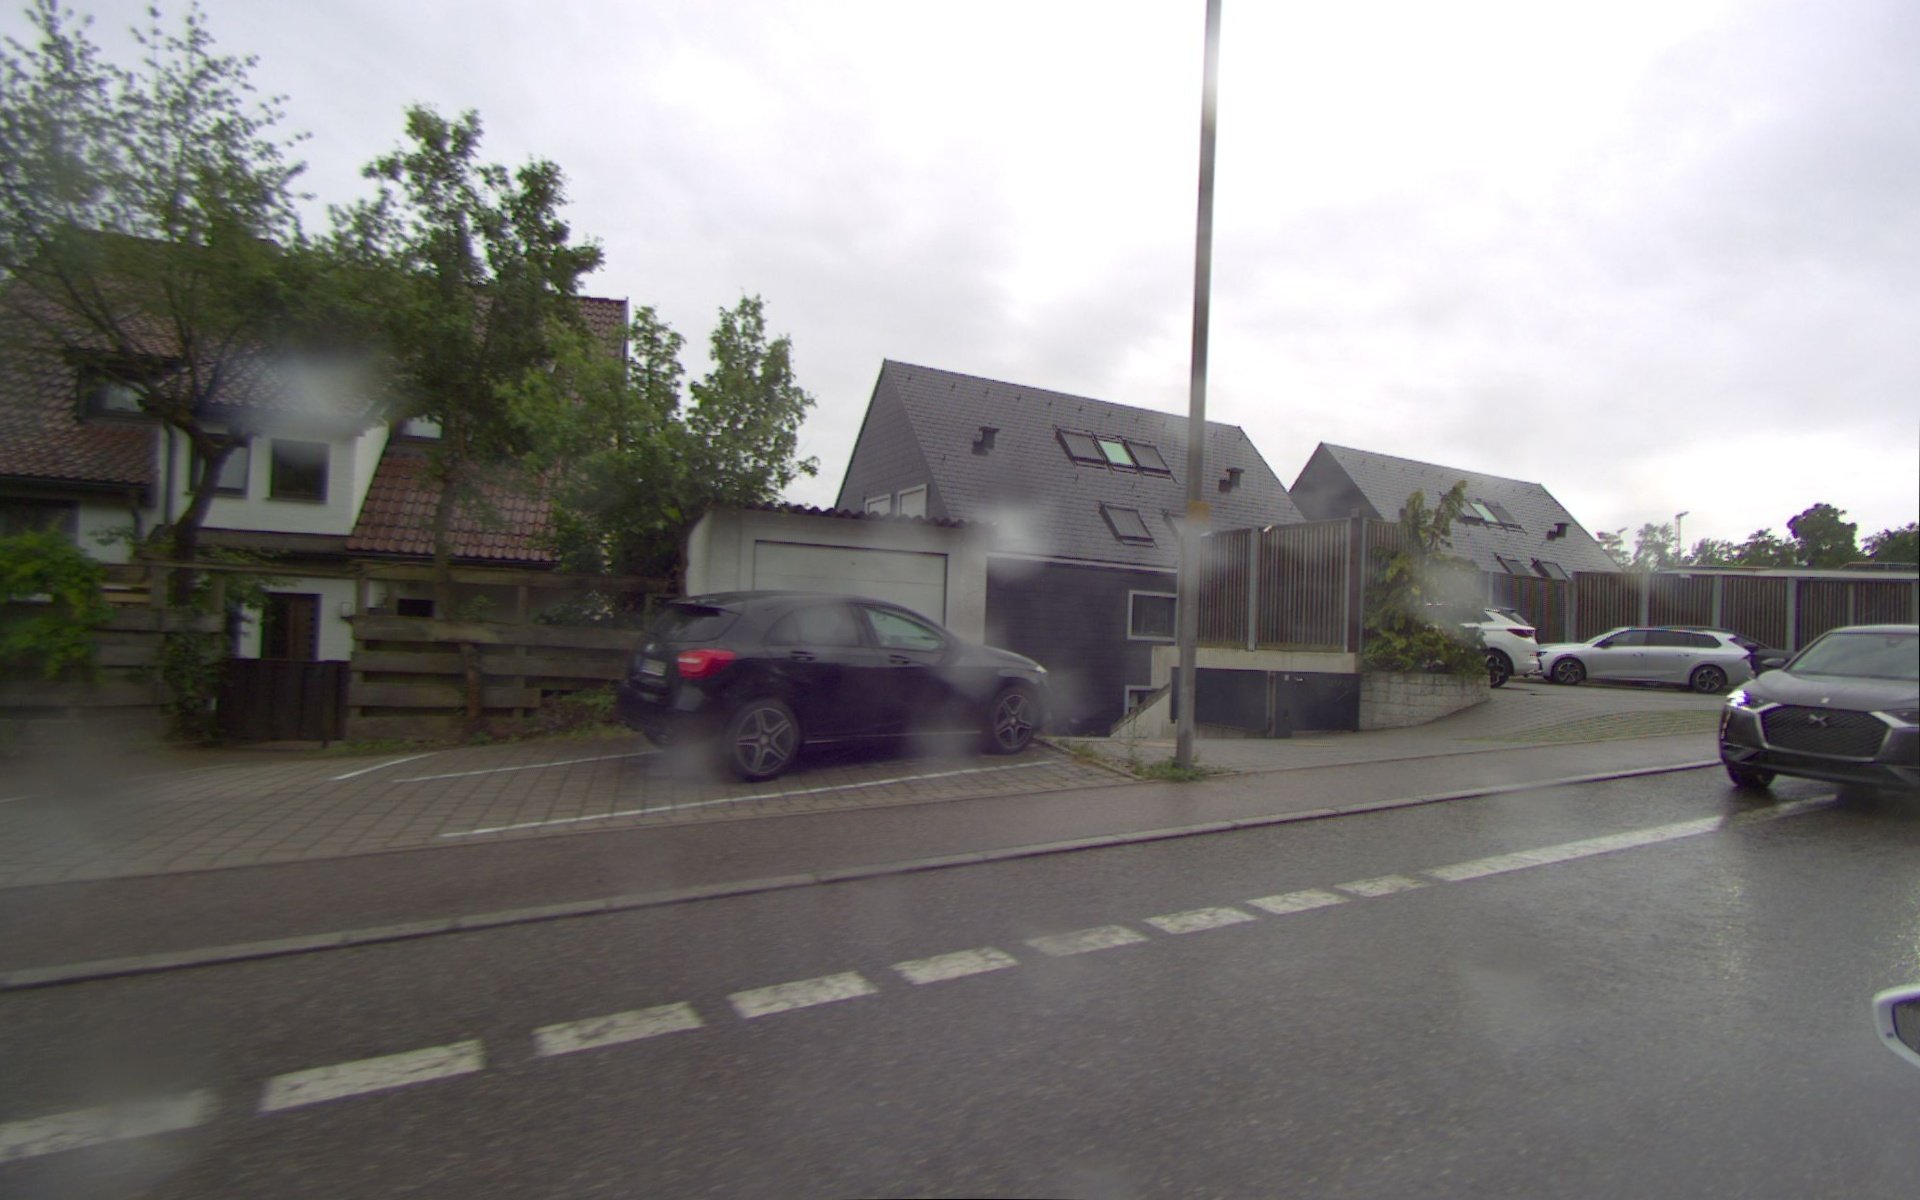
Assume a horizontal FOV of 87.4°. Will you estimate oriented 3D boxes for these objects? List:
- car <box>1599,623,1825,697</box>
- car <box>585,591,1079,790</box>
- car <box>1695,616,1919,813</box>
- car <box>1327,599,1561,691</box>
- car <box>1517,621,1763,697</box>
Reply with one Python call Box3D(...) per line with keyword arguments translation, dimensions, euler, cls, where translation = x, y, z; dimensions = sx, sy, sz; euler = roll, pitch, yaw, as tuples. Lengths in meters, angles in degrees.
Box3D(translation=(18.744, 1.444, 25.295), dimensions=(4.212, 1.622, 1.836), euler=(1, 0, 25), cls="car")
Box3D(translation=(-1.012, 0.690, 9.276), dimensions=(4.226, 1.424, 1.818), euler=(2, 0, -41), cls="car")
Box3D(translation=(8.684, 0.938, 9.237), dimensions=(3.657, 1.489, 1.841), euler=(2, 0, -31), cls="car")
Box3D(translation=(9.411, 0.841, 19.884), dimensions=(3.979, 1.595, 1.942), euler=(1, 0, 22), cls="car")
Box3D(translation=(15.750, 1.324, 23.562), dimensions=(4.444, 1.461, 1.761), euler=(2, 0, 20), cls="car")
